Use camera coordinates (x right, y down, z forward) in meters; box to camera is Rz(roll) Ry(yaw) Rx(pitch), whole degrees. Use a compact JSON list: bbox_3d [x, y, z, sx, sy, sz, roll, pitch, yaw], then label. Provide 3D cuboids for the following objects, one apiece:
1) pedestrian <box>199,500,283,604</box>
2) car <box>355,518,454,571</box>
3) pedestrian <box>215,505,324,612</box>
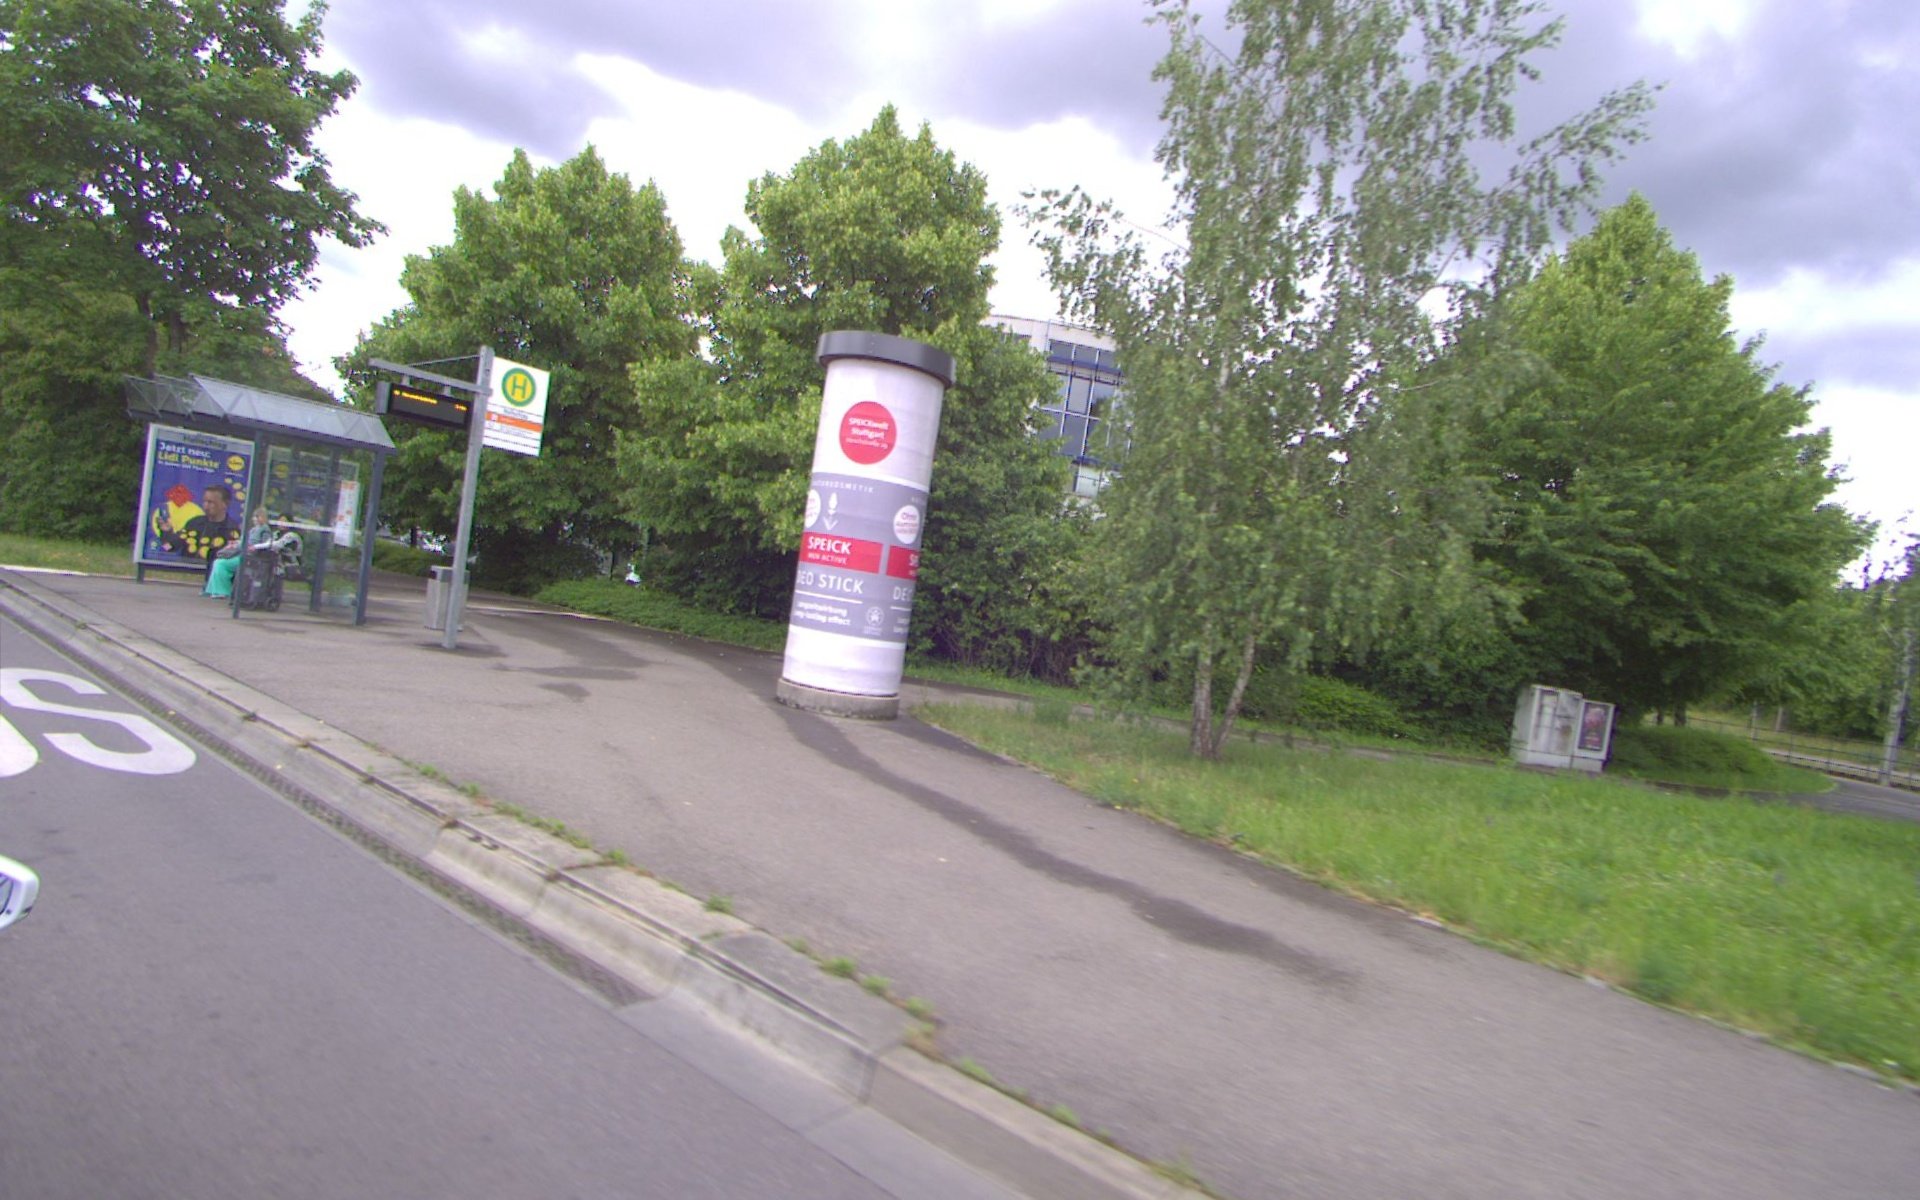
[{"bbox_3d":[-10.071,-0.674,14.094,0.581,1.332,0.727,8,0,41],"label":"pedestrian"},{"bbox_3d":[-31.118,-3.087,56.418,4.343,2.355,2.001,7,0,7],"label":"car"},{"bbox_3d":[-9.045,-0.528,13.208,0.759,1.268,0.776,8,0,-2],"label":"pedestrian"}]
